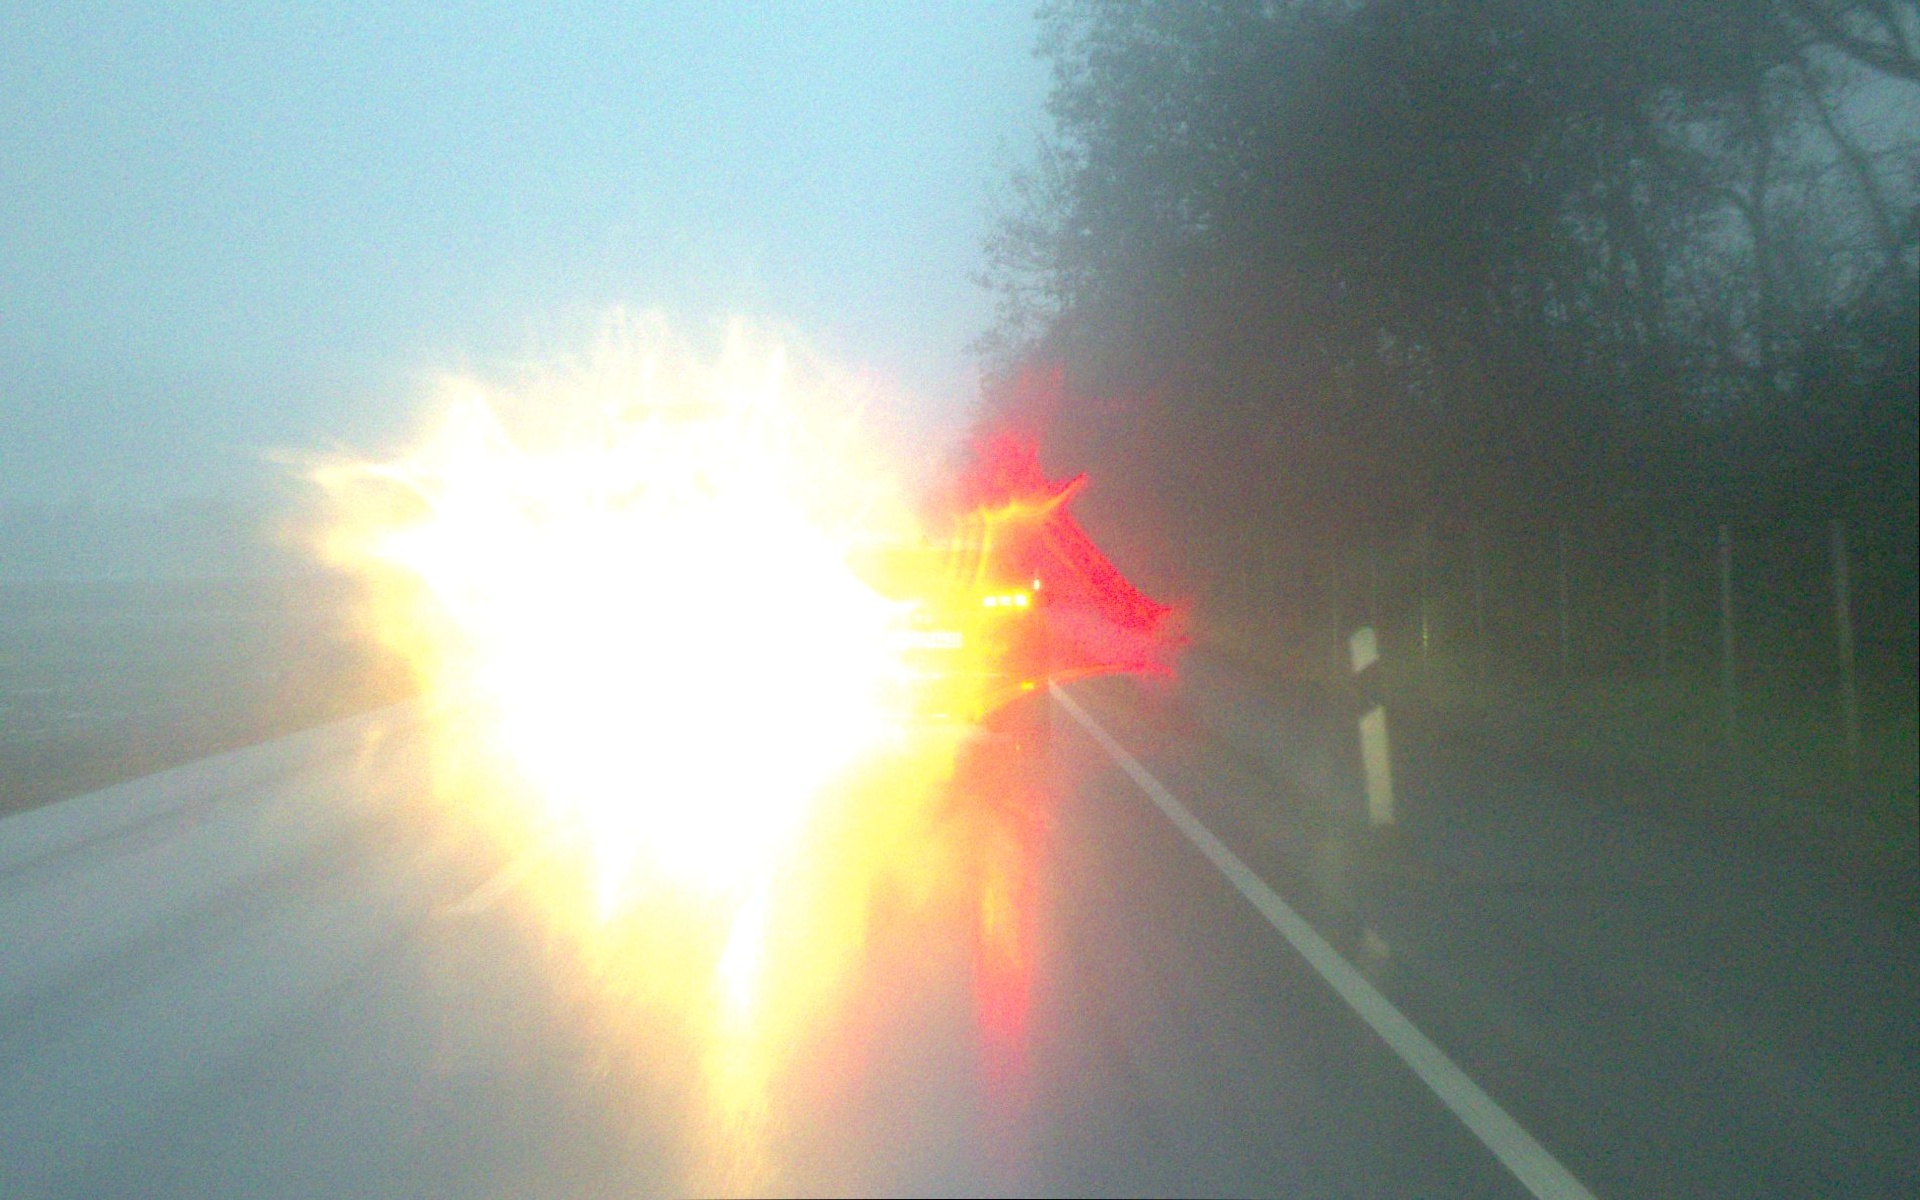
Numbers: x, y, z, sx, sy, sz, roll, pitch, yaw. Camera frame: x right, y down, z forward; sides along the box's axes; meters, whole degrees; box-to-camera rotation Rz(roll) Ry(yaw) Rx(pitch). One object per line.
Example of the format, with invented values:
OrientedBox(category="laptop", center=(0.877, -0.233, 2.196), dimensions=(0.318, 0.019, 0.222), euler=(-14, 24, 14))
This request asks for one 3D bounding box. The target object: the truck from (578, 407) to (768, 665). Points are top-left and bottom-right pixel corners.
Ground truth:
OrientedBox(category="truck", center=(-4.799, -1.095, 58.679), dimensions=(2.725, 4.091, 6.589), euler=(-2, 1, -1))

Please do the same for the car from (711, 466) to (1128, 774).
OrientedBox(category="car", center=(-0.285, 0.104, 26.251), dimensions=(2.820, 2.070, 5.804), euler=(0, 1, 0))

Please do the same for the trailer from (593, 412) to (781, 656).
OrientedBox(category="trailer", center=(-4.946, -1.231, 64.472), dimensions=(2.701, 4.066, 12.382), euler=(-2, 1, -1))

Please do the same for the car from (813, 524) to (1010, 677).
OrientedBox(category="car", center=(-0.650, -0.030, 48.436), dimensions=(2.592, 2.007, 5.804), euler=(0, 1, 0))
